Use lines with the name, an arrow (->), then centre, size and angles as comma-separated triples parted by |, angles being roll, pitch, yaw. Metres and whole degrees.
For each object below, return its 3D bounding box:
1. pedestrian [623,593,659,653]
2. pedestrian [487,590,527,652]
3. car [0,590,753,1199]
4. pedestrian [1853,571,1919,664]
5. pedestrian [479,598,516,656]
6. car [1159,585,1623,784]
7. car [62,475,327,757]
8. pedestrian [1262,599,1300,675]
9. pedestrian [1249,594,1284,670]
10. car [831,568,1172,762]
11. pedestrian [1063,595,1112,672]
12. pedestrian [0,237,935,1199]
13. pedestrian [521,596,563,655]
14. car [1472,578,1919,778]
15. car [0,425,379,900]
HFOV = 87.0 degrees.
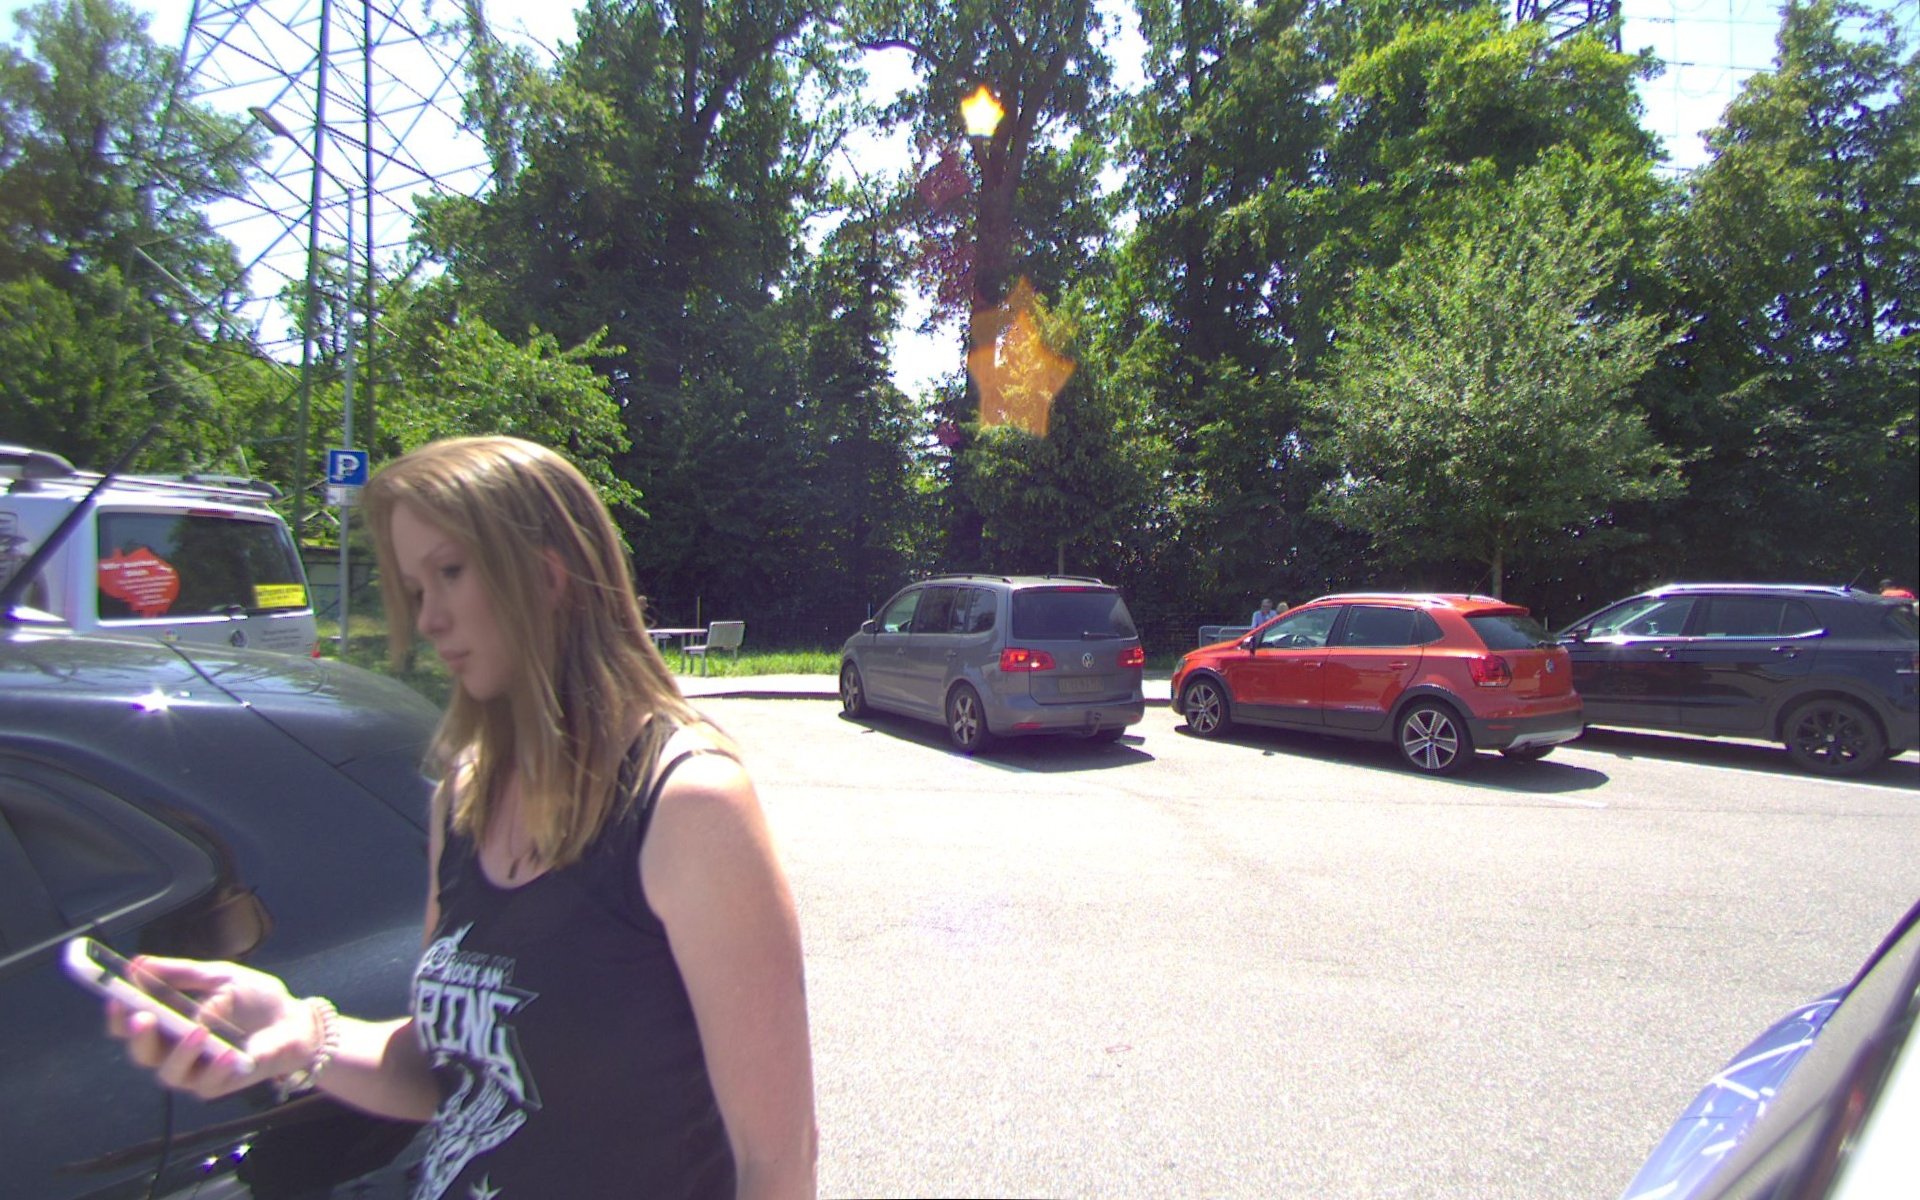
pedestrian -> -6.700, 0.472, 21.291 | 0.550, 1.229, 0.599 | 1, -1, -1
pedestrian -> -10.961, 0.498, 24.502 | 0.722, 1.478, 0.669 | 1, -1, -39
car -> -2.140, 0.723, 0.576 | 1.615, 1.503, 3.706 | 0, -1, 44
pedestrian -> 13.900, 0.257, 14.849 | 0.846, 1.316, 0.894 | 1, -1, -18
pedestrian -> -10.449, 0.606, 22.868 | 0.630, 1.287, 0.579 | 1, -1, -39
car -> 3.847, 0.612, 9.640 | 1.604, 1.476, 3.810 | 0, 1, -34
car -> -8.079, 0.096, 10.614 | 1.885, 2.353, 4.089 | 0, 1, -40
pedestrian -> 5.674, 0.647, 17.885 | 0.495, 1.316, 0.491 | 1, -1, 0
pedestrian -> 5.755, 0.597, 19.009 | 0.495, 1.393, 0.491 | 1, -1, 0
car -> 0.211, 0.507, 10.543 | 1.717, 1.611, 3.961 | 0, 1, -30
pedestrian -> 2.113, 0.559, 16.850 | 0.660, 1.235, 0.682 | 1, -2, -5
pedestrian -> -0.403, 0.611, 0.891 | 0.643, 1.606, 0.647 | 1, -1, 9
pedestrian -> -9.729, 0.590, 23.565 | 0.722, 1.343, 0.669 | 1, -1, -39
car -> 7.225, 0.583, 9.664 | 1.727, 1.566, 3.806 | 0, 1, -39
car -> -6.437, 0.225, 5.721 | 5.214, 2.176, 2.000 | 1, 2, 2
